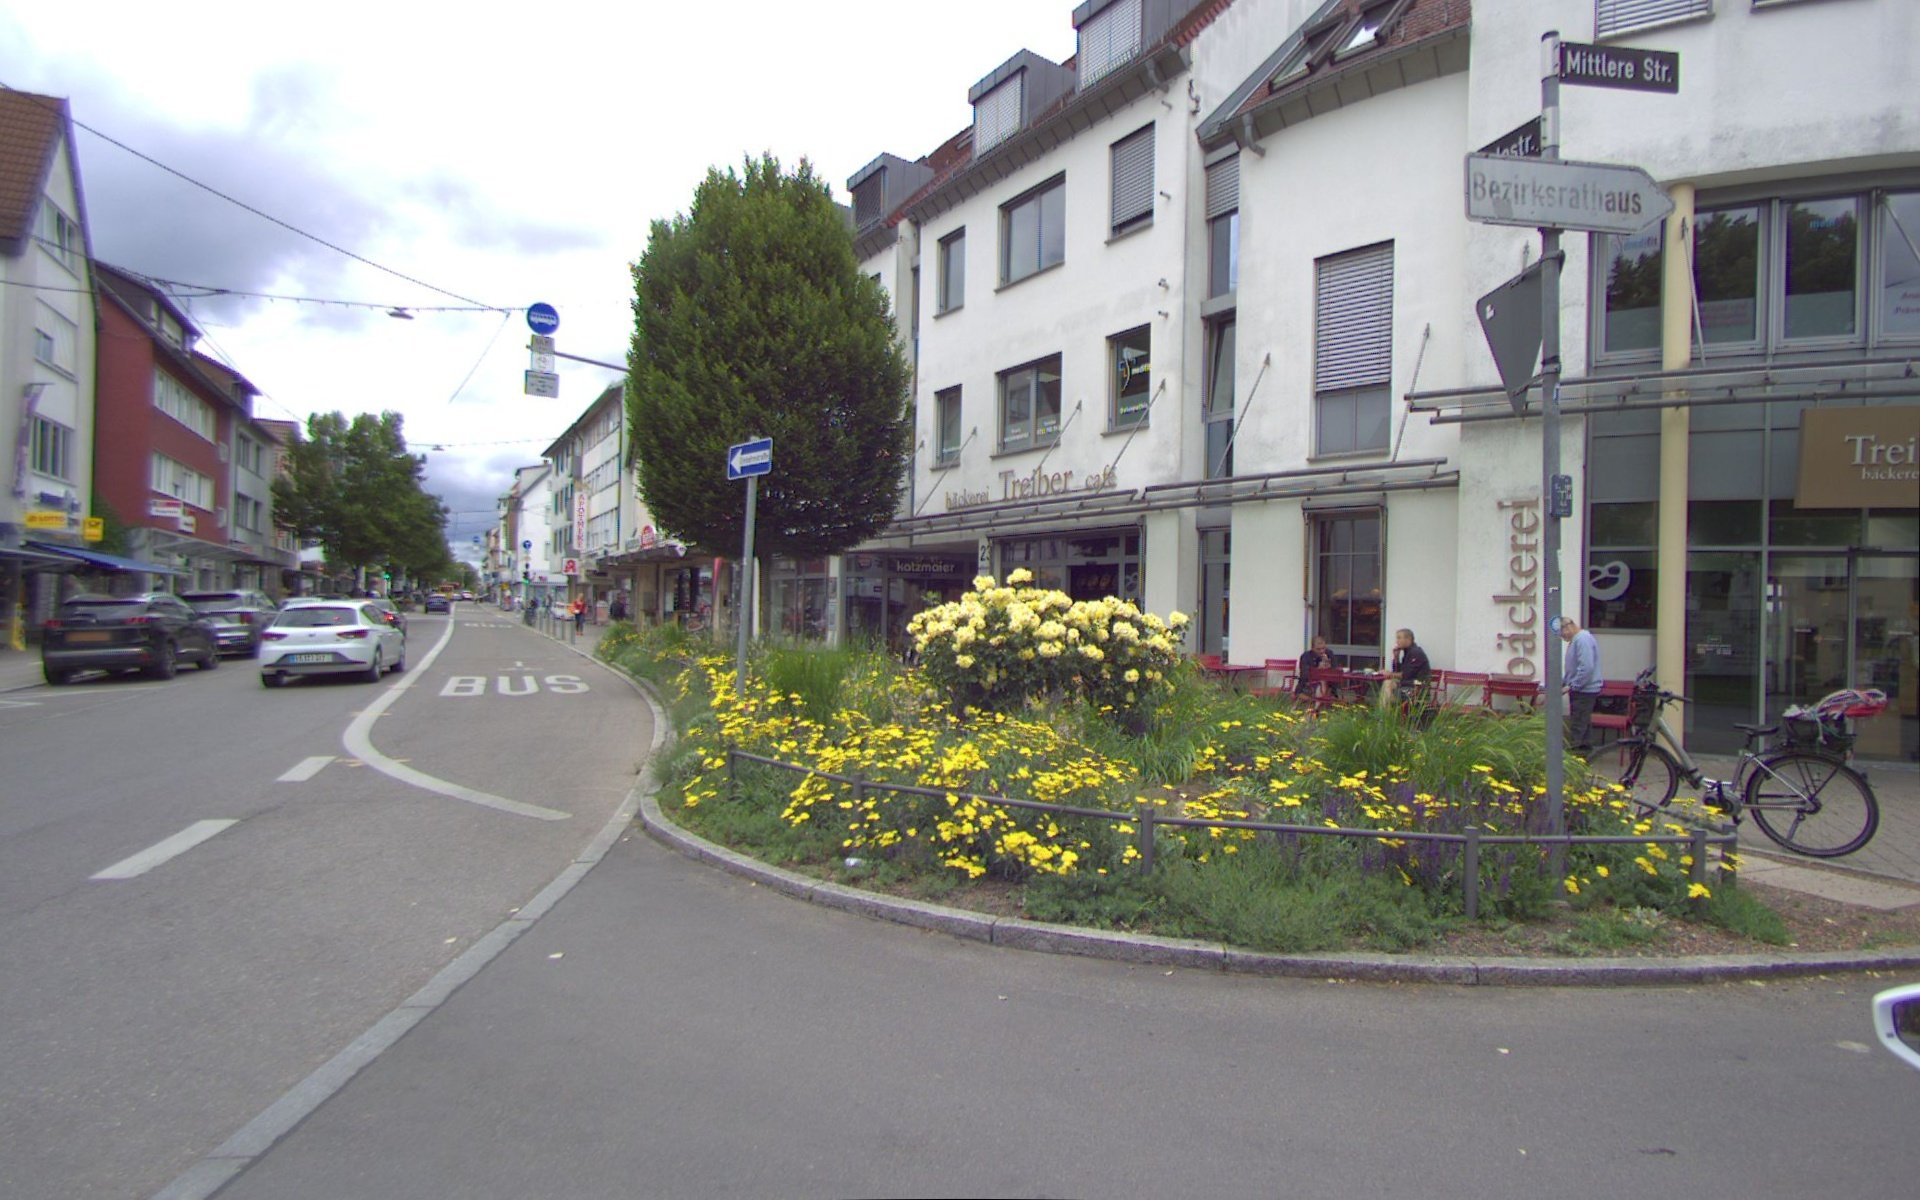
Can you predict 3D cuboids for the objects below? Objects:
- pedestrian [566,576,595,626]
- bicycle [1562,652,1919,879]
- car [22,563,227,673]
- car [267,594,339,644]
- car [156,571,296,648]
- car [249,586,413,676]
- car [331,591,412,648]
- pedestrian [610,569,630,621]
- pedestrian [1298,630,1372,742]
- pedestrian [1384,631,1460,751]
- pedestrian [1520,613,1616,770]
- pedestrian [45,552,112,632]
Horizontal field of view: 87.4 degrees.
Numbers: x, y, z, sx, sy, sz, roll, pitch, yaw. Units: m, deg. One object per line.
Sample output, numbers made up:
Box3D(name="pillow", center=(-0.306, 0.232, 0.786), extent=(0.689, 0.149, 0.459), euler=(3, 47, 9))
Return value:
Box3D(name="pedestrian", center=(-15.805, 0.044, 41.846), extent=(1.012, 2.040, 0.893), euler=(0, 0, -14))
Box3D(name="bicycle", center=(5.481, 1.057, 7.112), extent=(0.736, 1.256, 1.961), euler=(0, 0, -35))
Box3D(name="car", center=(-16.001, 0.334, 19.512), extent=(1.972, 1.879, 3.978), euler=(0, -1, -23))
Box3D(name="car", center=(-23.246, 0.653, 35.650), extent=(1.555, 1.644, 3.975), euler=(0, -1, -25))
Box3D(name="car", center=(-18.324, 0.242, 25.293), extent=(1.973, 1.755, 4.400), euler=(0, -1, -25))
Box3D(name="car", center=(-11.484, 0.482, 18.629), extent=(1.822, 1.453, 3.979), euler=(0, 1, -21))
Box3D(name="car", center=(-19.112, 0.578, 32.789), extent=(2.015, 1.697, 4.342), euler=(0, 1, -27))
Box3D(name="pedestrian", center=(-13.569, -0.190, 40.059), extent=(0.662, 2.040, 0.630), euler=(0, 0, -30))
Box3D(name="pedestrian", center=(4.819, 1.078, 12.908), extent=(0.693, 1.350, 0.680), euler=(0, 0, 43))
Box3D(name="pedestrian", center=(5.557, 1.068, 12.080), extent=(0.648, 1.359, 0.692), euler=(0, 0, 43))
Box3D(name="pedestrian", center=(6.339, 0.910, 10.468), extent=(0.693, 1.546, 0.862), euler=(0, 0, 43))
Box3D(name="pedestrian", center=(-23.117, -0.210, 26.365), extent=(1.092, 2.040, 1.007), euler=(0, 1, -27))
